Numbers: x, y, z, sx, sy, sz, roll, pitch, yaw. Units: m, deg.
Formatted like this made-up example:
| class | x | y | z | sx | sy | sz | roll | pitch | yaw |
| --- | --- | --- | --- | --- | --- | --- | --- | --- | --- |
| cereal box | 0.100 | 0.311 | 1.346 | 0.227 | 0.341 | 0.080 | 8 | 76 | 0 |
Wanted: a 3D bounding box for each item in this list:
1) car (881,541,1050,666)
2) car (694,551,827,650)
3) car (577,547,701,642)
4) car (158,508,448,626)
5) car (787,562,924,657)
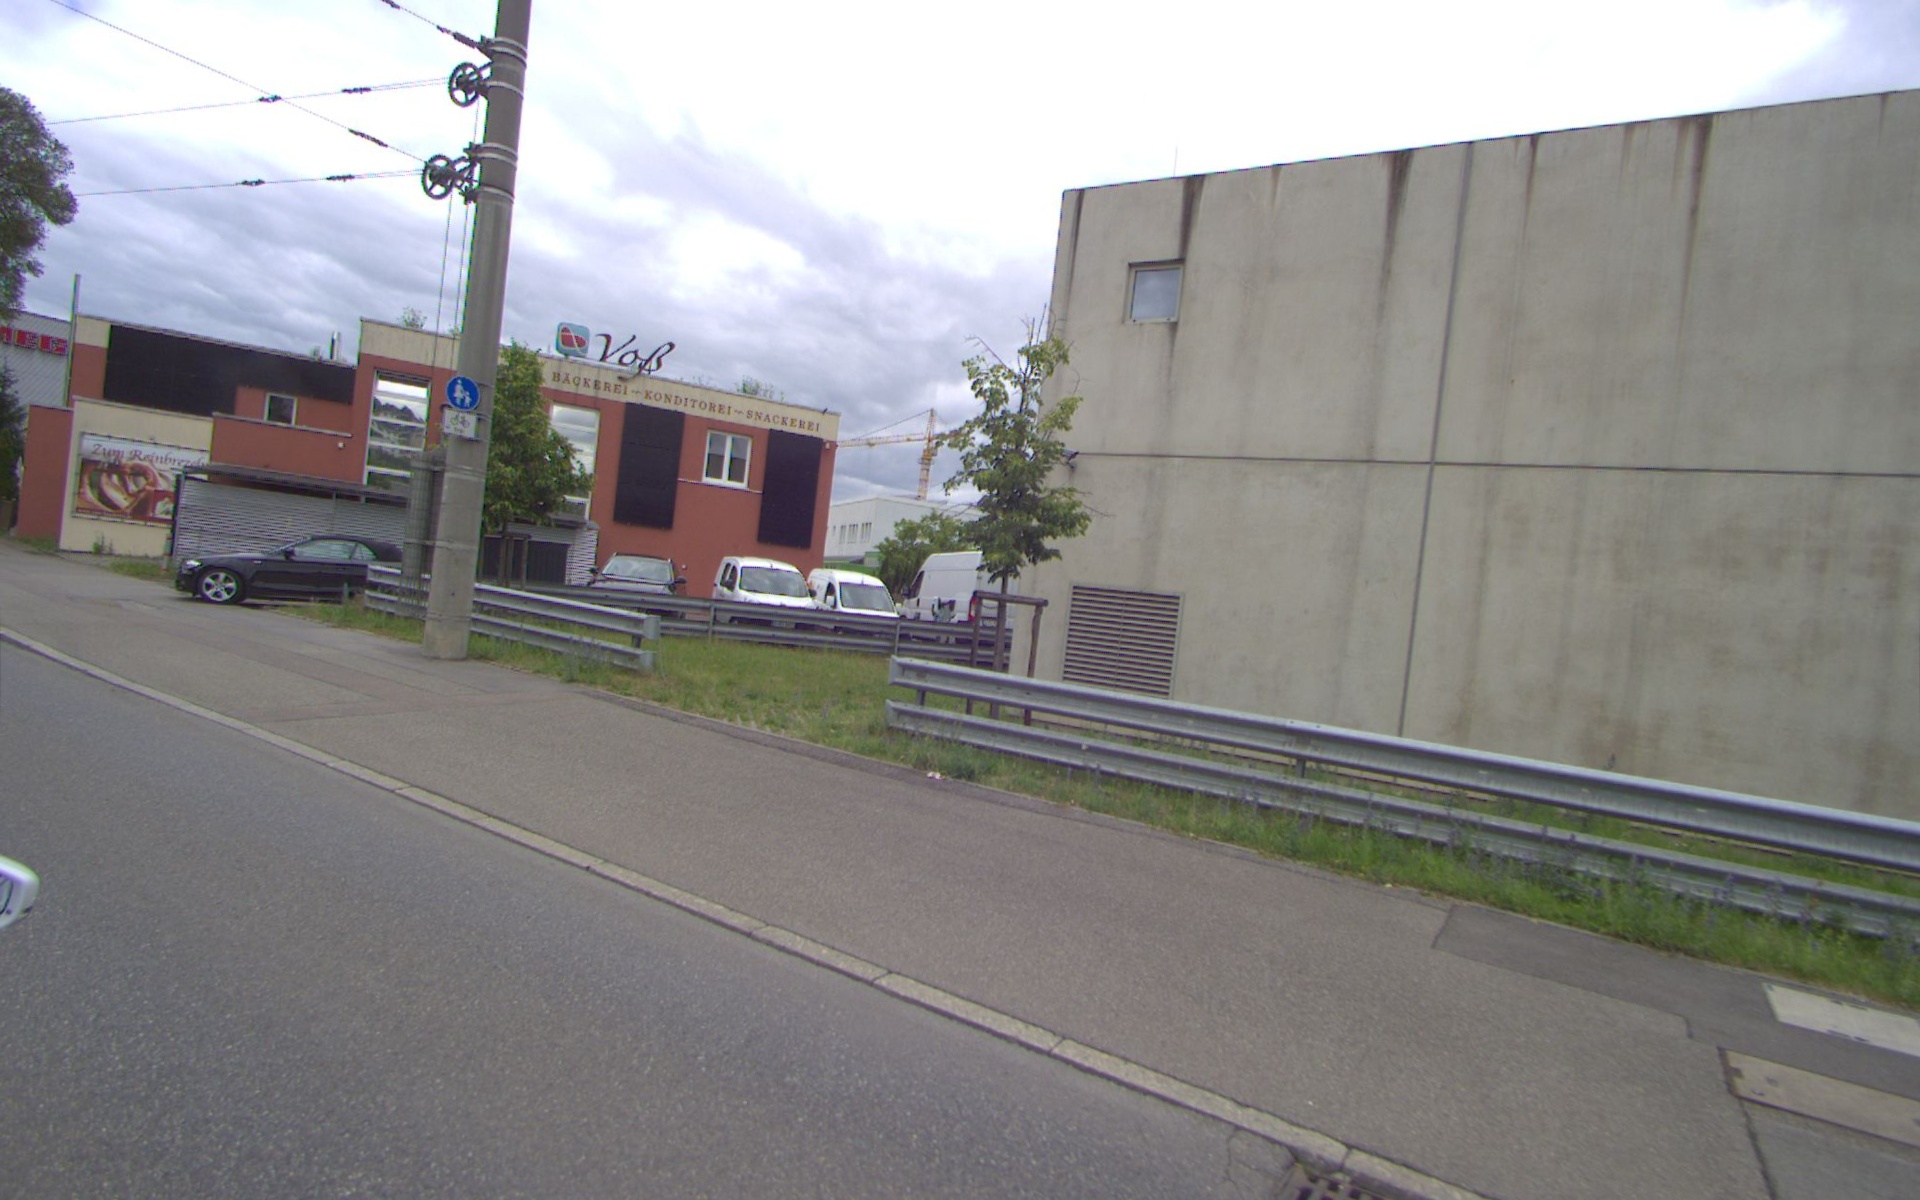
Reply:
| class | x | y | z | sx | sy | sz | roll | pitch | yaw |
| --- | --- | --- | --- | --- | --- | --- | --- | --- | --- |
| car | -0.033 | 0.002 | 25.328 | 2.068 | 2.621 | 5.394 | 7 | 0 | -23 |
| car | -4.644 | -0.066 | 22.836 | 1.837 | 1.855 | 4.514 | 7 | 0 | -24 |
| car | -6.846 | -0.156 | 21.720 | 2.129 | 1.566 | 4.505 | 8 | -1 | -16 |
| car | -11.952 | -0.575 | 18.649 | 4.189 | 1.460 | 1.750 | 9 | -1 | -30 |
| car | -2.591 | 0.154 | 23.892 | 1.795 | 1.854 | 4.415 | 7 | 0 | -24 |
